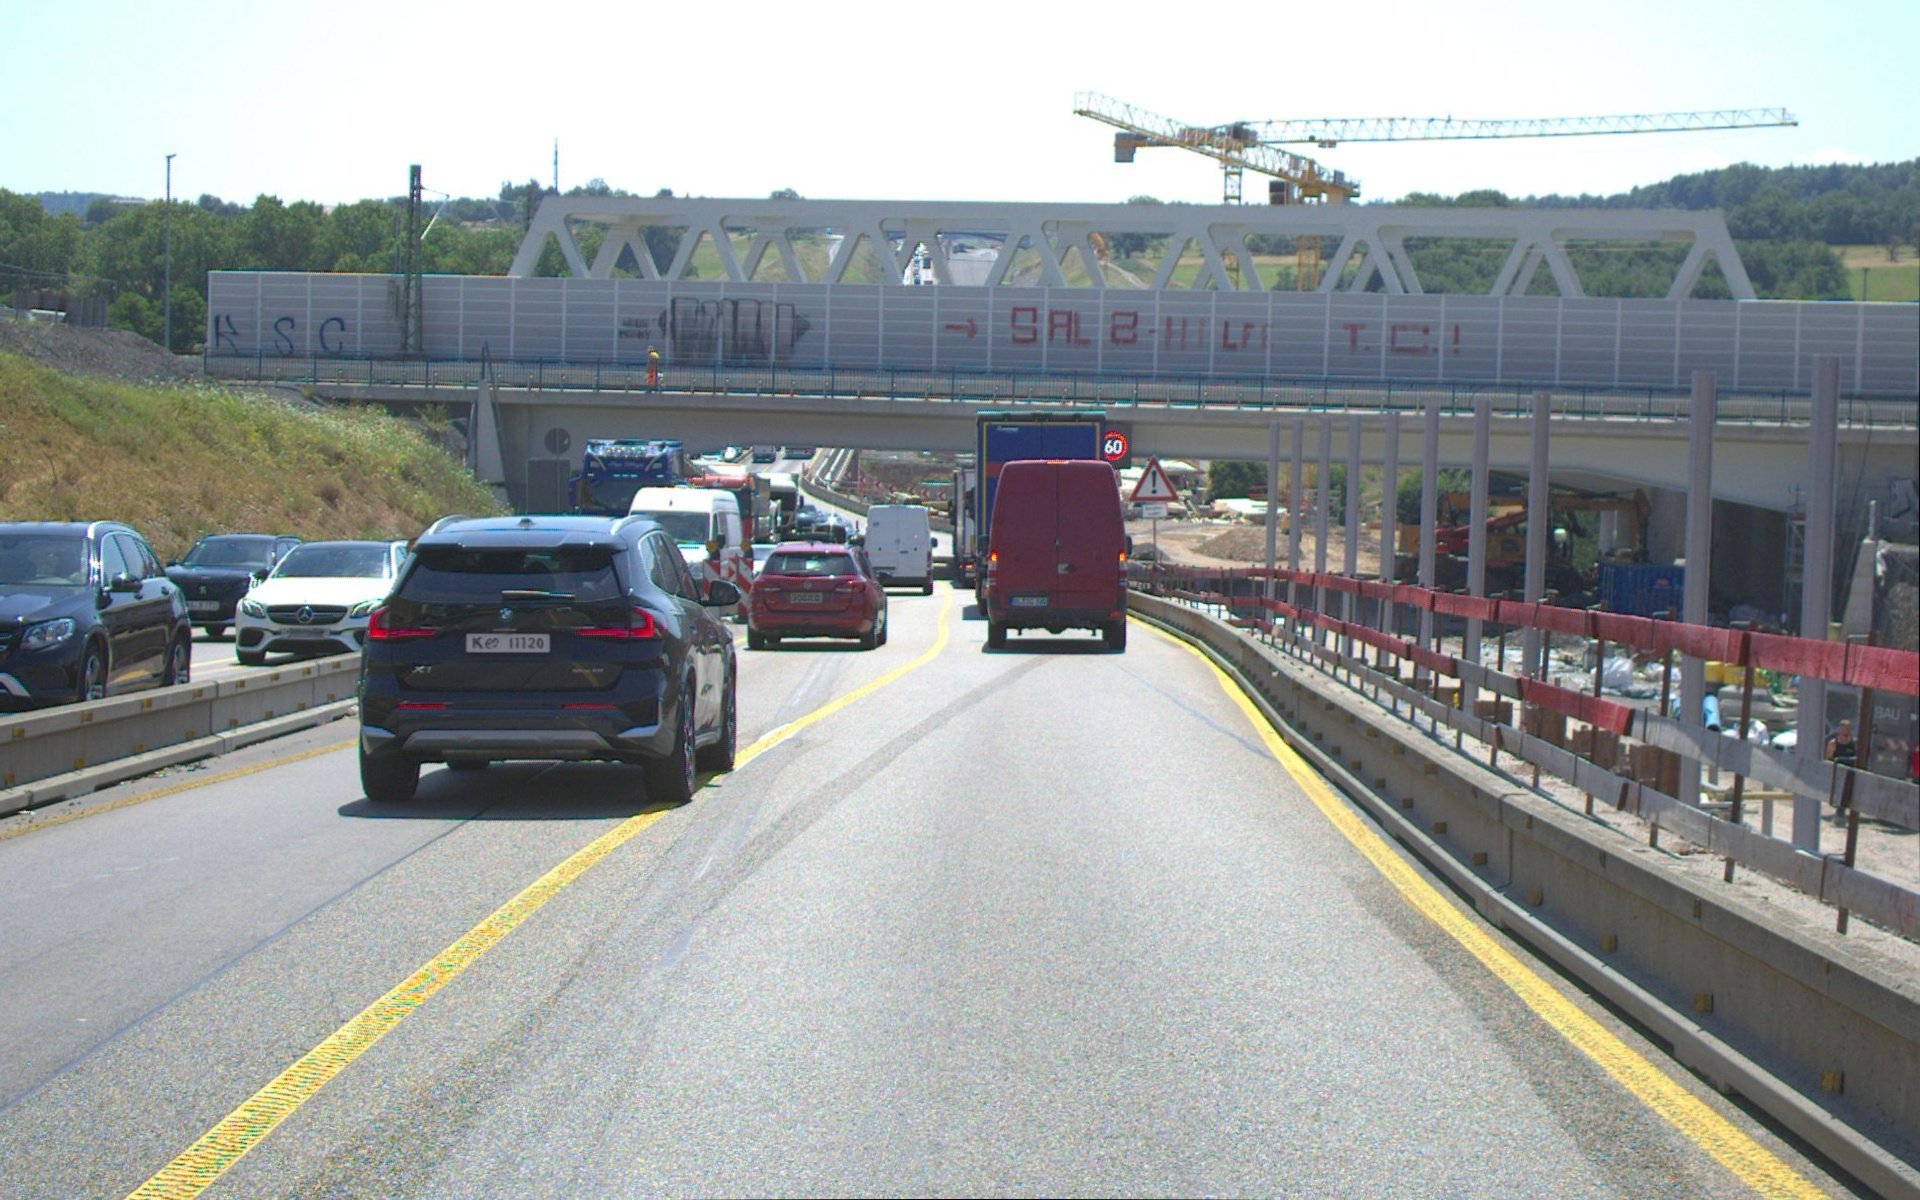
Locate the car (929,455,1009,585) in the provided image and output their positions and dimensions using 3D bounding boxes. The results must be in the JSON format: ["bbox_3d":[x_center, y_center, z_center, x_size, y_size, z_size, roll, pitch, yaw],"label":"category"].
[{"bbox_3d":[0.248,-2.649,113.236,2.450,4.146,6.861,0,1,-1],"label":"car"}]

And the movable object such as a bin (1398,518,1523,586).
[{"bbox_3d":[21.473,-2.067,147.568,5.147,2.798,2.142,1,1,5],"label":"movable object such as a bin"}]

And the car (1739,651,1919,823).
[{"bbox_3d":[16.508,2.325,57.608,6.086,2.576,2.531,2,3,-10],"label":"car"}]

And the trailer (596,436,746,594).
[{"bbox_3d":[-7.758,-2.326,93.769,2.348,4.001,11.449,1,1,4],"label":"trailer"}]

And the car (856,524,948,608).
[{"bbox_3d":[-1.220,-0.728,70.696,1.839,1.648,4.165,0,2,-2],"label":"car"}]

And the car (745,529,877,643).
[{"bbox_3d":[-2.081,-0.233,48.508,1.775,1.512,4.207,0,2,-2],"label":"car"}]

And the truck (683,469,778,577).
[{"bbox_3d":[-8.656,-2.957,131.100,2.834,3.839,12.913,1,1,-1],"label":"truck"}]

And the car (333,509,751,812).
[{"bbox_3d":[-2.367,0.263,20.600,1.880,1.612,4.499,0,2,1],"label":"car"}]

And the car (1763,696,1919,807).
[{"bbox_3d":[17.607,2.858,64.117,4.728,1.767,2.000,3,3,1],"label":"car"}]

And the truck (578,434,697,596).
[{"bbox_3d":[-8.183,-2.158,87.476,2.358,4.001,4.000,1,1,4],"label":"truck"}]

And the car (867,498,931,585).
[{"bbox_3d":[-1.748,-1.697,98.099,1.776,2.432,4.206,0,1,-1],"label":"car"}]

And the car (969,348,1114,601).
[{"bbox_3d":[1.639,-2.630,73.505,2.621,5.015,10.398,0,2,-1],"label":"car"}]

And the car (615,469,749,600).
[{"bbox_3d":[-5.825,-1.409,72.910,1.993,2.598,7.010,1,1,2],"label":"car"}]

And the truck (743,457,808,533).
[{"bbox_3d":[-9.668,-5.511,181.224,2.834,3.839,12.913,1,1,-1],"label":"truck"}]

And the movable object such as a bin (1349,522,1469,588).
[{"bbox_3d":[19.892,-1.996,152.406,5.147,2.798,2.142,1,1,5],"label":"movable object such as a bin"}]

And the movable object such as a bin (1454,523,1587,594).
[{"bbox_3d":[22.924,-1.701,140.783,5.147,2.798,2.142,1,1,5],"label":"movable object such as a bin"}]

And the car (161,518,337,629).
[{"bbox_3d":[-10.435,-0.423,50.679,1.694,1.526,4.000,1,1,1],"label":"car"}]

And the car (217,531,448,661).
[{"bbox_3d":[-7.695,-0.095,42.597,1.961,1.459,4.941,1,1,0],"label":"car"}]

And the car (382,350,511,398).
[{"bbox_3d":[-20.087,-8.832,134.488,4.556,1.776,1.959,1,1,13],"label":"car"}]

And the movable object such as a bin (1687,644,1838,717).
[{"bbox_3d":[19.032,1.896,81.553,3.103,1.558,1.550,2,2,35],"label":"movable object such as a bin"}]

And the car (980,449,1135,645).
[{"bbox_3d":[1.351,-0.785,49.496,1.988,2.681,4.624,0,1,-1],"label":"car"}]

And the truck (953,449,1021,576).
[{"bbox_3d":[1.166,-3.895,153.068,2.835,5.380,12.913,1,1,0],"label":"truck"}]

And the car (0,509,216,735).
[{"bbox_3d":[-7.284,0.098,27.145,1.790,1.606,4.733,1,1,0],"label":"car"}]
